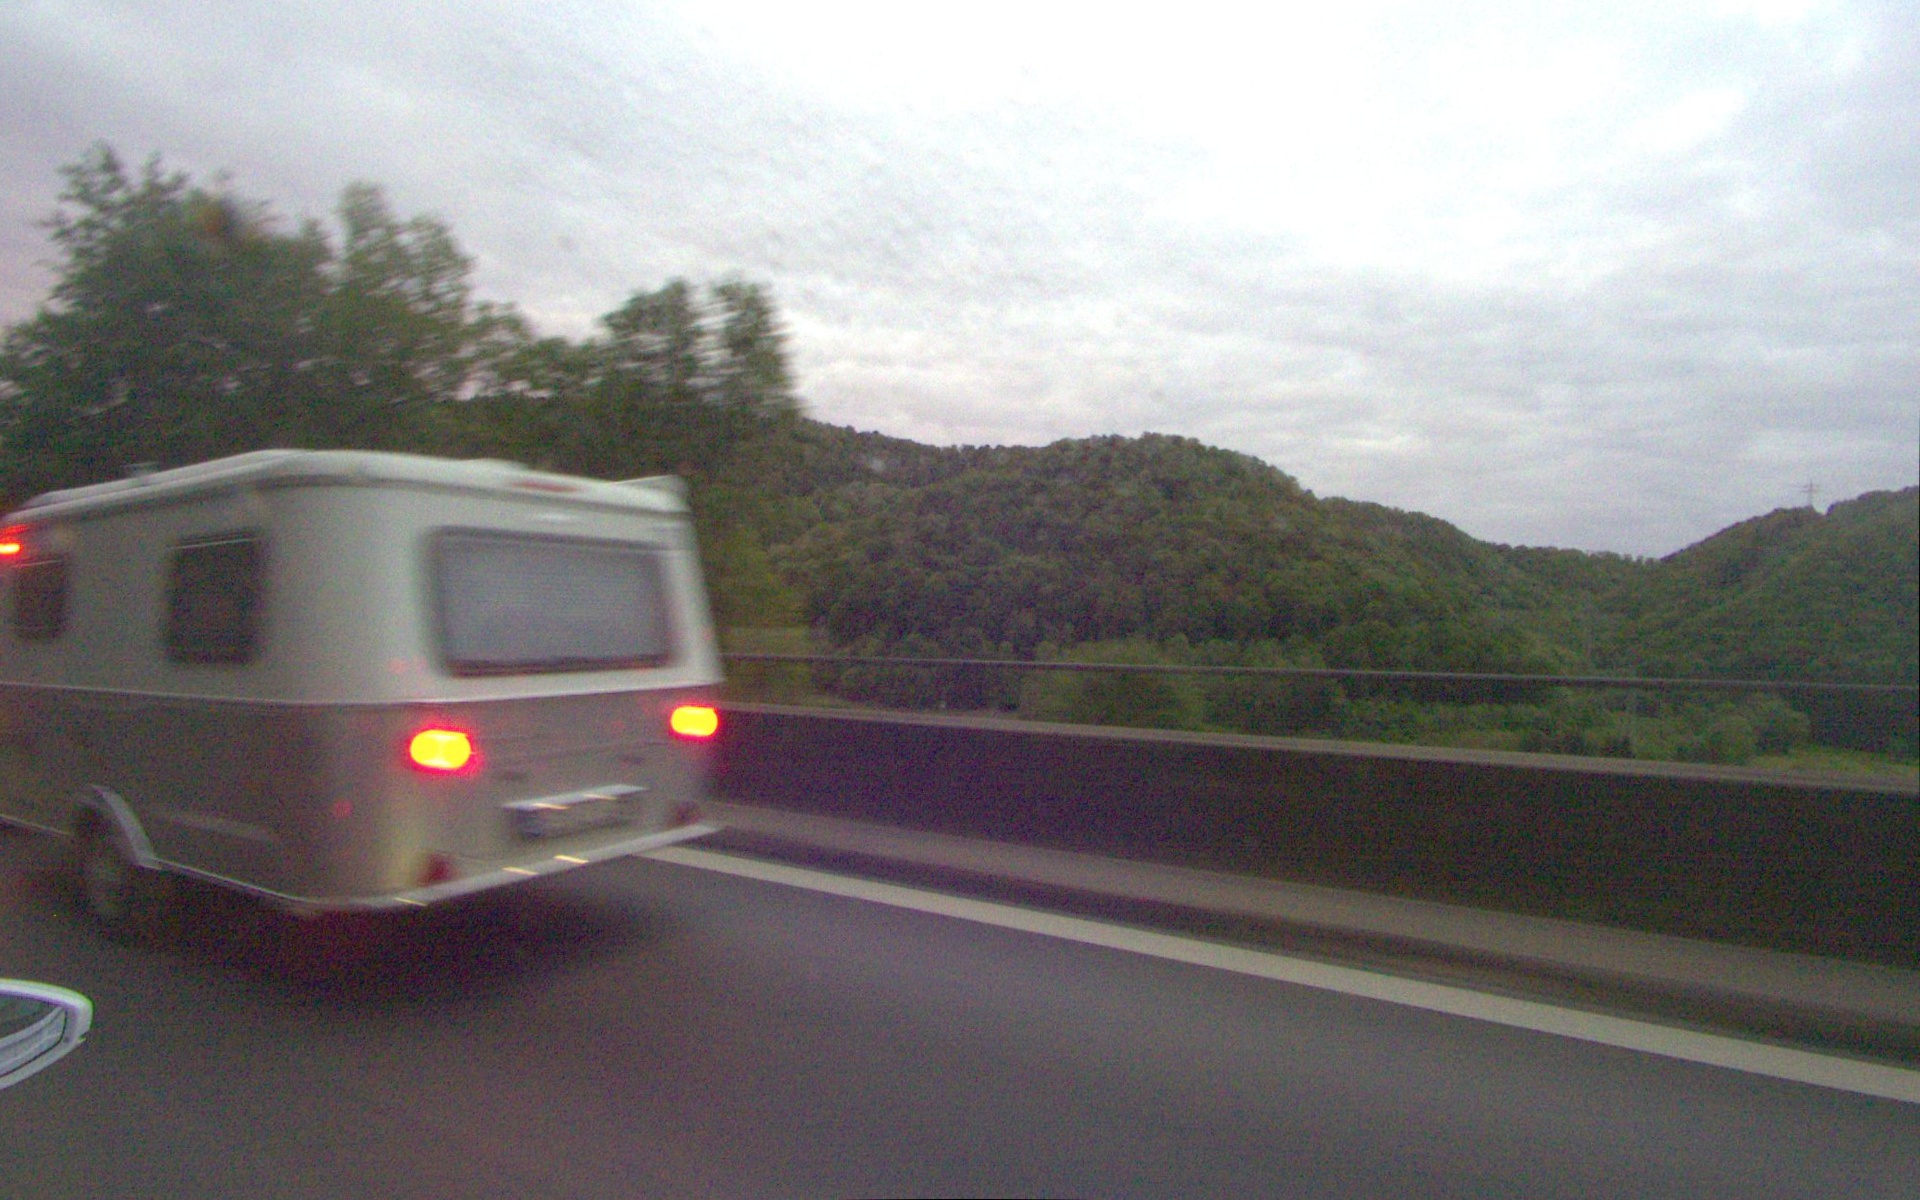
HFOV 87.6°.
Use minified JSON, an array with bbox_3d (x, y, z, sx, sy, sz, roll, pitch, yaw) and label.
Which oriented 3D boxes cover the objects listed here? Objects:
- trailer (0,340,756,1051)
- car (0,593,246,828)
[{"bbox_3d":[-4.053,0.388,5.860,5.854,2.405,2.051,-1,-2,33],"label":"trailer"},{"bbox_3d":[-8.437,0.820,8.705,4.795,1.635,1.990,-1,-1,32],"label":"car"}]
